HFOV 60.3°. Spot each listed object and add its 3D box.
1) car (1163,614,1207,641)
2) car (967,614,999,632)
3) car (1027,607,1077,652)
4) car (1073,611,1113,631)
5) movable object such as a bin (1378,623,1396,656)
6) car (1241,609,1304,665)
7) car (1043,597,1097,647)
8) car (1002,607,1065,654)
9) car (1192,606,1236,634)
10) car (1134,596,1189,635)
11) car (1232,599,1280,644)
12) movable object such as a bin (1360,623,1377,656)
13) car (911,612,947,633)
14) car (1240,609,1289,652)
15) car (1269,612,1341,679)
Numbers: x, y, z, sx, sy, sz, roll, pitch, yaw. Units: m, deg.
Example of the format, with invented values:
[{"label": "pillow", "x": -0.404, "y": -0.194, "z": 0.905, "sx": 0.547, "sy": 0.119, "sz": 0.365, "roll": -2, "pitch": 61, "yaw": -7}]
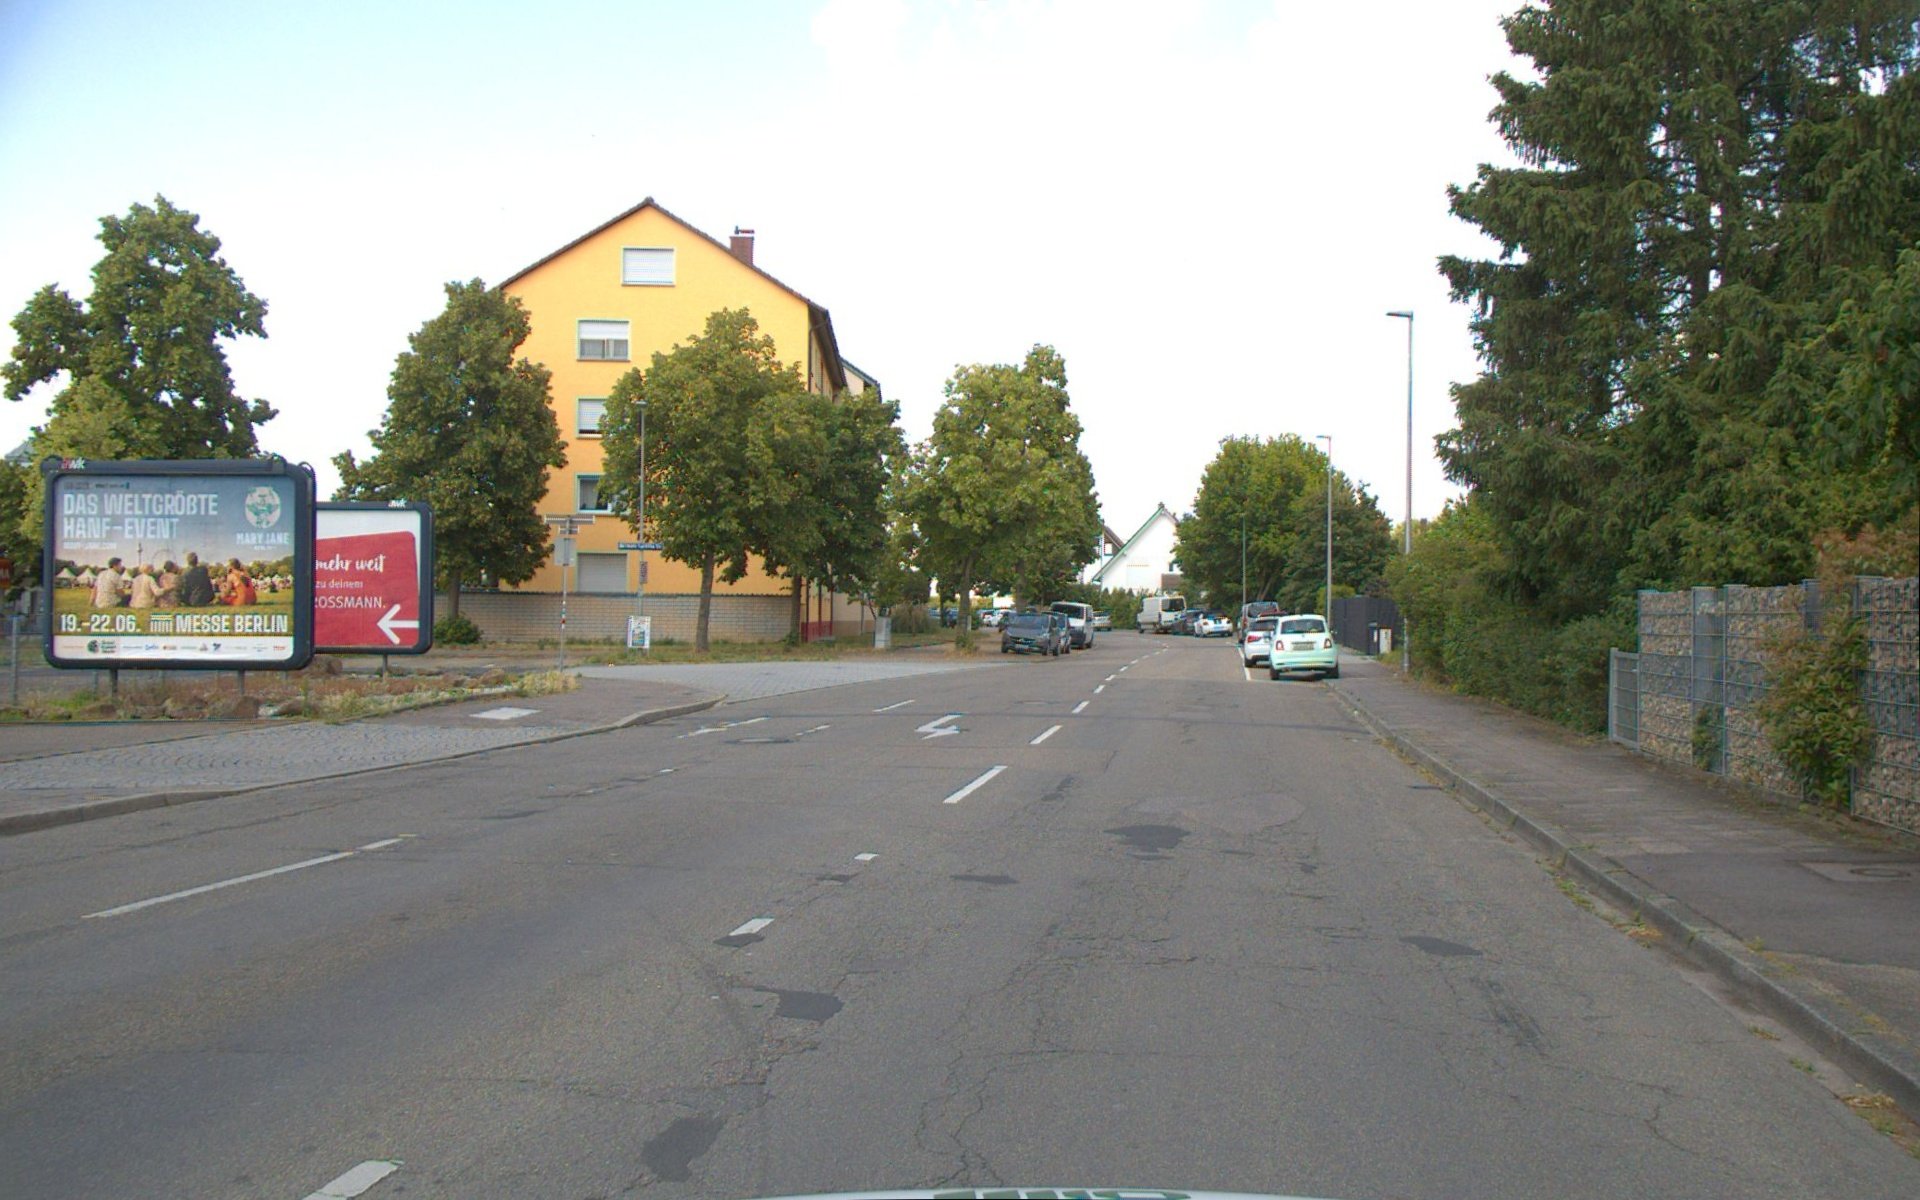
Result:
[{"label": "car", "x": 13.798, "y": 1.689, "z": 101.645, "sx": 1.685, "sy": 1.613, "sz": 4.116, "roll": 1, "pitch": -1, "yaw": -8}, {"label": "car", "x": 2.082, "y": 2.082, "z": 149.781, "sx": 1.767, "sy": 1.550, "sz": 3.953, "roll": 1, "pitch": -1, "yaw": -18}, {"label": "car", "x": 3.661, "y": 1.143, "z": 65.403, "sx": 1.486, "sy": 1.576, "sz": 3.758, "roll": 5, "pitch": 1, "yaw": 8}, {"label": "car", "x": 9.875, "y": 1.529, "z": 122.725, "sx": 1.707, "sy": 1.483, "sz": 4.349, "roll": 1, "pitch": -1, "yaw": -14}, {"label": "movable object such as a bin", "x": 13.980, "y": 1.294, "z": 54.180, "sx": 0.505, "sy": 1.057, "sz": 0.630, "roll": 0, "pitch": -1, "yaw": 9}, {"label": "car", "x": 9.041, "y": 1.040, "z": 47.714, "sx": 1.684, "sy": 1.512, "sz": 3.752, "roll": 0, "pitch": -1, "yaw": 12}, {"label": "car", "x": 4.940, "y": 0.954, "z": 73.712, "sx": 1.840, "sy": 2.044, "sz": 5.326, "roll": 4, "pitch": 0, "yaw": 9}, {"label": "car", "x": 2.655, "y": 1.114, "z": 59.024, "sx": 1.648, "sy": 1.512, "sz": 3.987, "roll": 3, "pitch": -1, "yaw": 11}, {"label": "car", "x": 14.432, "y": 1.146, "z": 94.191, "sx": 1.705, "sy": 1.539, "sz": 4.457, "roll": 0, "pitch": -1, "yaw": -2}, {"label": "car", "x": 13.161, "y": 1.017, "z": 108.250, "sx": 2.078, "sy": 2.484, "sz": 5.883, "roll": 1, "pitch": -1, "yaw": -8}, {"label": "car", "x": 13.987, "y": 1.017, "z": 78.287, "sx": 1.803, "sy": 1.978, "sz": 4.879, "roll": -2, "pitch": -1, "yaw": 6}, {"label": "movable object such as a bin", "x": 13.396, "y": 1.287, "z": 54.268, "sx": 0.505, "sy": 1.057, "sz": 0.630, "roll": 0, "pitch": -1, "yaw": 9}, {"label": "car", "x": -2.523, "y": 1.821, "z": 132.865, "sx": 1.757, "sy": 1.483, "sz": 4.417, "roll": 5, "pitch": -2, "yaw": -15}, {"label": "car", "x": 12.010, "y": 1.185, "z": 65.448, "sx": 1.810, "sy": 1.607, "sz": 4.736, "roll": 0, "pitch": -1, "yaw": 9}, {"label": "car", "x": 8.418, "y": 1.079, "z": 40.553, "sx": 1.547, "sy": 1.547, "sz": 3.758, "roll": 0, "pitch": -1, "yaw": 9}]
